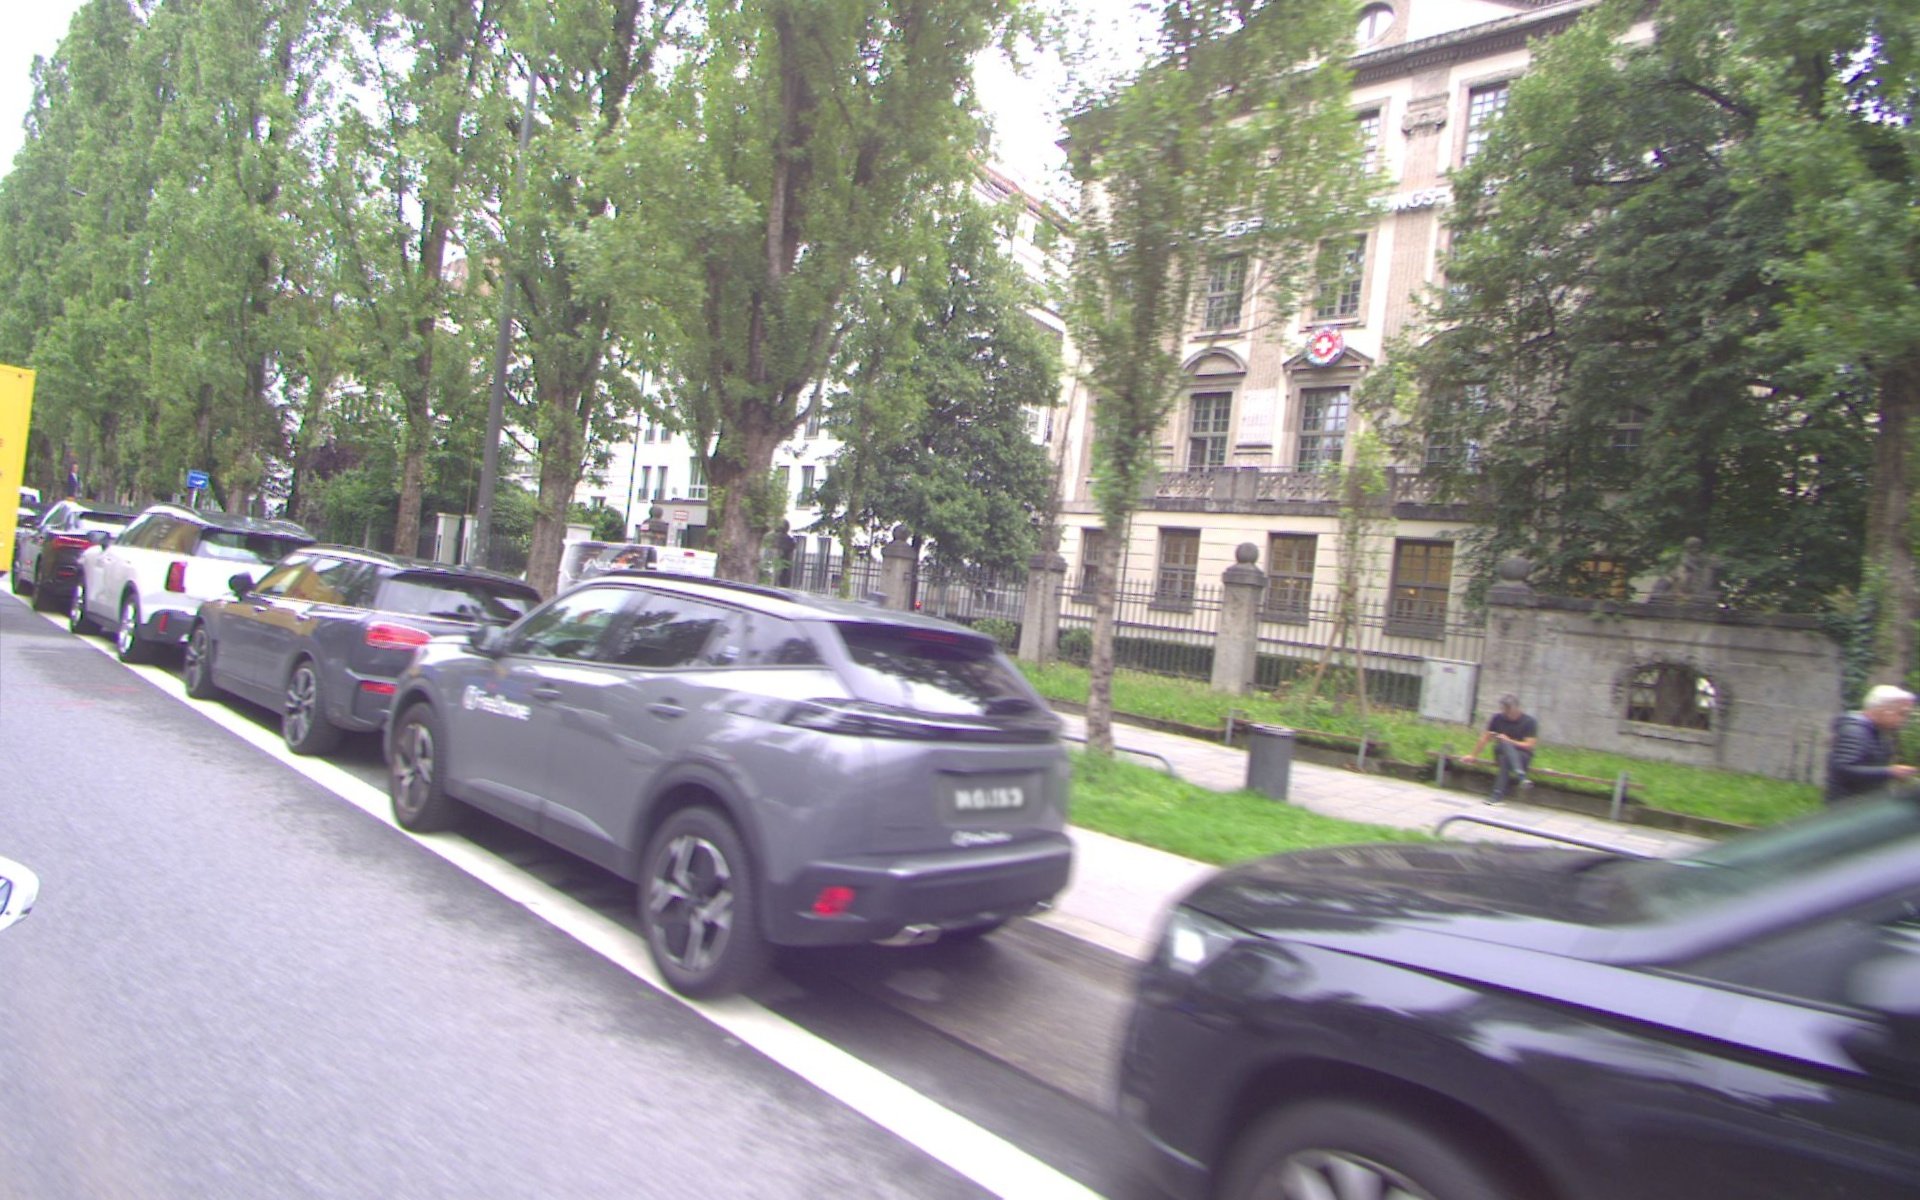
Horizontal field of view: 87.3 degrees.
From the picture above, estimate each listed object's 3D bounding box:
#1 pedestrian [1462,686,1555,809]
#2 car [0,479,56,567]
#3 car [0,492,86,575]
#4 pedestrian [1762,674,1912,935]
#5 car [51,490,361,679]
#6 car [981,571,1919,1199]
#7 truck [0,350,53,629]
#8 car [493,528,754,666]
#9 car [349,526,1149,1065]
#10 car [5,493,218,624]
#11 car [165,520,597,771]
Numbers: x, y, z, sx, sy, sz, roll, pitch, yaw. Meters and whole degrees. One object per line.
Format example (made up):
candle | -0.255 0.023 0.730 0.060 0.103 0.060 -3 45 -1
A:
pedestrian | 6.320 1.668 11.577 0.662 1.260 0.878 7 2 40
car | -24.909 -2.097 25.899 4.177 2.000 1.804 7 -1 41
car | -20.935 -1.560 22.222 3.944 1.571 1.861 6 -1 41
pedestrian | 6.265 1.420 7.225 0.623 1.679 0.714 7 0 39
car | -8.606 -0.237 11.356 4.087 1.599 1.781 7 -2 40
car | 2.294 0.998 1.846 4.162 1.609 1.820 6 -1 40
truck | -13.508 -1.554 12.380 7.227 2.933 2.325 6 0 40
car | -6.385 -0.113 18.735 5.247 1.948 1.992 6 -1 40
car | -1.326 0.599 5.055 4.055 1.521 1.651 6 -2 40
car | -12.731 -0.666 15.003 4.263 1.513 1.723 6 -1 41
car | -4.905 0.286 8.273 4.089 1.462 1.633 6 -3 40
